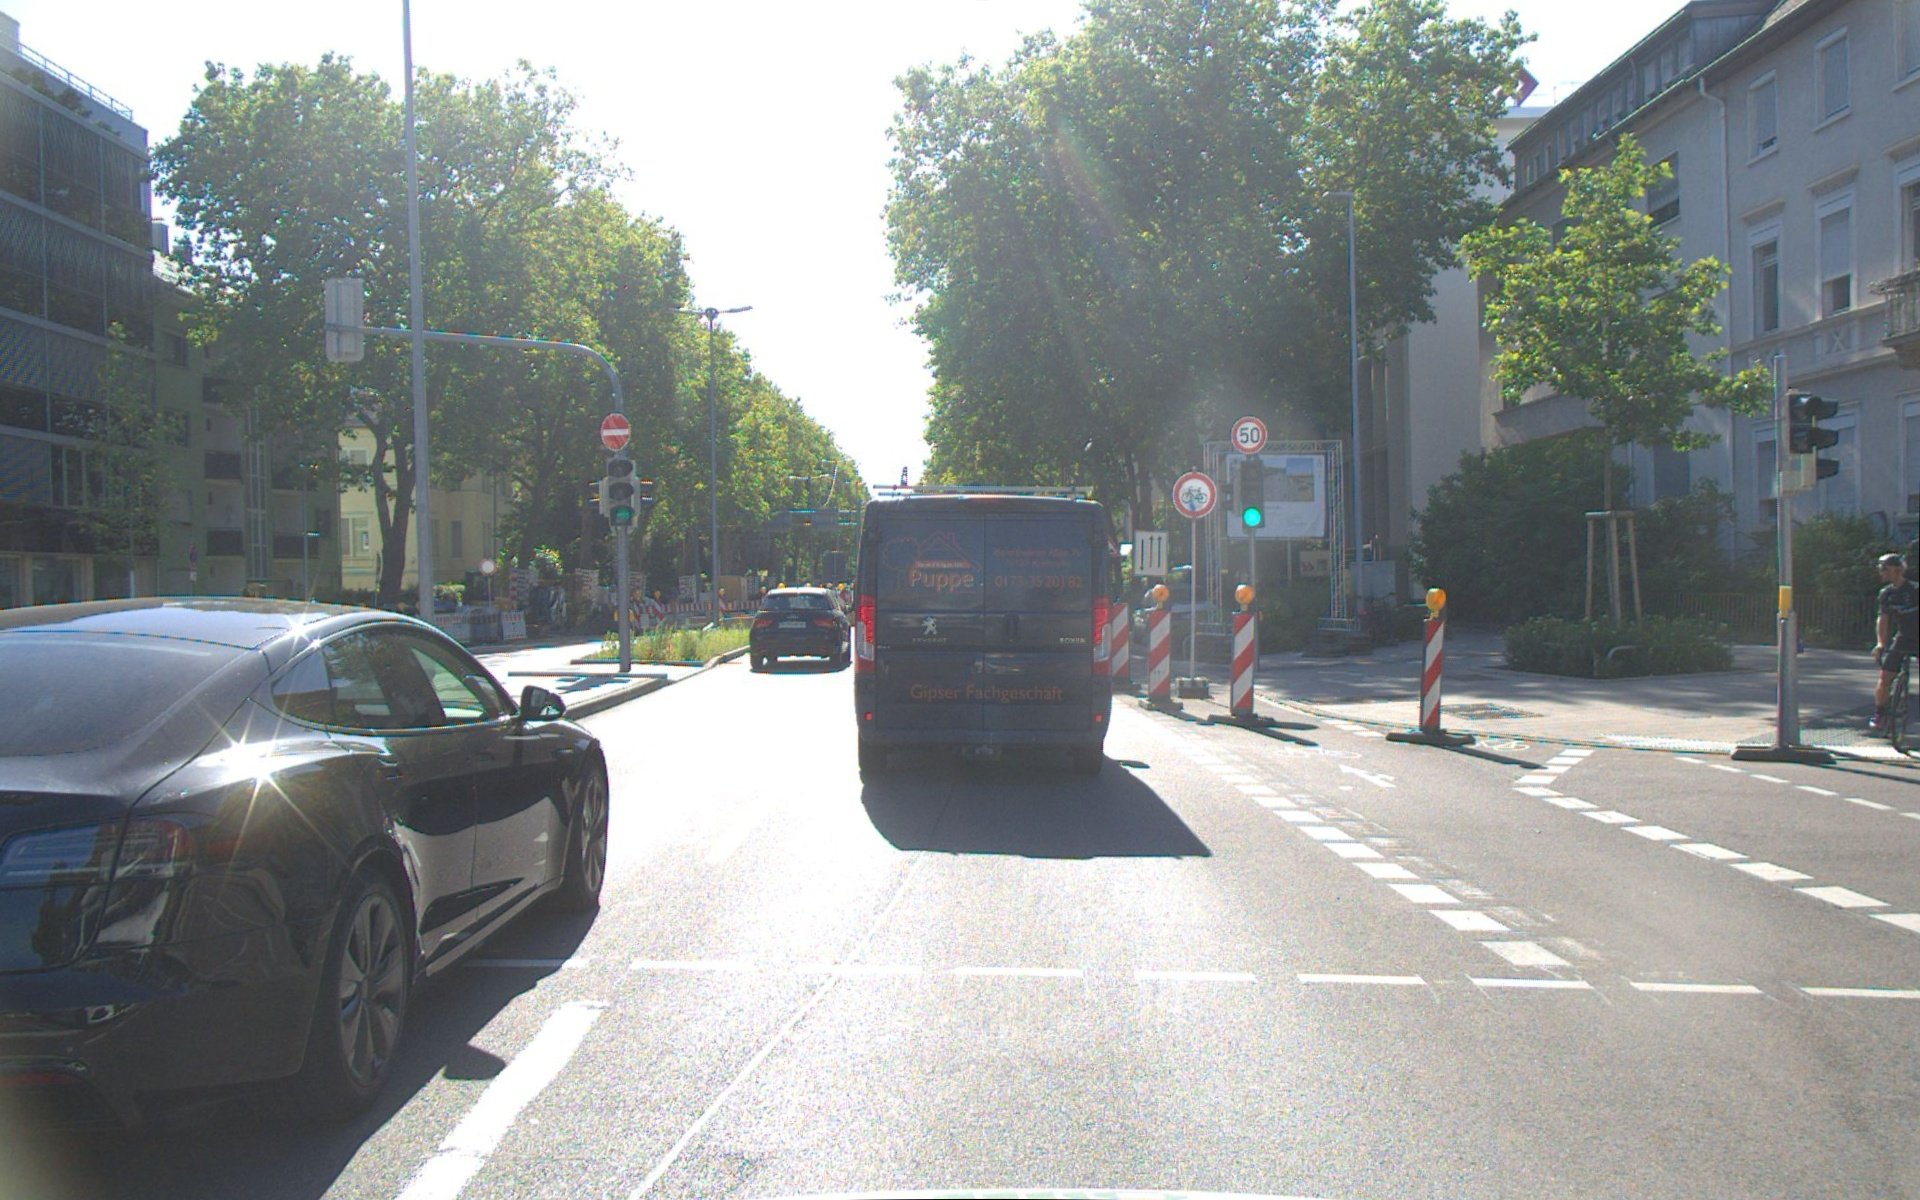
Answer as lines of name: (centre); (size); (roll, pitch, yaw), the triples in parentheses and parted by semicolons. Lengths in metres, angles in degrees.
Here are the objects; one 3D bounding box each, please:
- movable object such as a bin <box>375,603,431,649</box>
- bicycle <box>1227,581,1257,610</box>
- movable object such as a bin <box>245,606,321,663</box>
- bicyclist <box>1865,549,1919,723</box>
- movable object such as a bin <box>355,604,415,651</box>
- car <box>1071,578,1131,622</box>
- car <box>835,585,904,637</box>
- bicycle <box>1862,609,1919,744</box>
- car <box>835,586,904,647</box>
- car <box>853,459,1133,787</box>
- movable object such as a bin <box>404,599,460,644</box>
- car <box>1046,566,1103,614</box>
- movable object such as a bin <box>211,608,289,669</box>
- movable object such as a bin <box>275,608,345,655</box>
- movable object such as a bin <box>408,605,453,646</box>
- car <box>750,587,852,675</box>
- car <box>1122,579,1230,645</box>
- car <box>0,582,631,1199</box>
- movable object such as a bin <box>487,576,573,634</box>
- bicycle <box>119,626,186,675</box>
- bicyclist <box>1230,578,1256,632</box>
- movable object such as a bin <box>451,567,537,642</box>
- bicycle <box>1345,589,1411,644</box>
movable object such as a bin: (-17.350, 0.809, 51.549); (1.381, 1.361, 0.936); (-1, 0, 1)
bicycle: (9.867, -0.157, 57.948); (0.766, 0.983, 1.823); (-1, 1, 1)
movable object such as a bin: (-17.753, 0.885, 43.446); (1.189, 1.412, 1.856); (-1, 0, 1)
bicyclist: (8.570, 0.305, 14.891); (0.710, 1.525, 0.870); (-1, 1, 28)
movable object such as a bin: (-17.520, 0.835, 50.460); (1.381, 1.361, 1.157); (-1, 0, 1)
car: (5.101, -0.024, 60.242); (1.728, 1.534, 4.250); (-1, 1, -1)
car: (-2.753, 0.309, 51.220); (1.872, 1.469, 4.602); (-1, 1, -1)
bicycle: (8.559, 0.662, 14.975); (0.675, 1.117, 1.684); (-1, 1, 29)
car: (-2.343, 0.391, 43.122); (1.711, 1.431, 3.999); (0, 2, -3)
car: (0.188, 0.128, 14.146); (2.053, 2.396, 3.932); (-1, 1, -2)
movable object such as a bin: (-17.786, 0.704, 55.698); (1.610, 1.447, 1.252); (-1, 0, -27)
car: (4.937, -0.454, 71.917); (1.985, 1.980, 5.272); (-1, 0, -1)
movable object such as a bin: (-17.622, 0.942, 41.113); (1.091, 1.412, 1.856); (-1, 0, 1)
movable object such as a bin: (-17.744, 0.846, 45.185); (1.365, 1.224, 1.242); (-1, 0, 2)
movable object such as a bin: (-17.249, 0.827, 53.888); (0.960, 1.293, 1.540); (-1, 1, -1)
car: (-2.922, 0.530, 31.093); (1.711, 1.431, 3.999); (0, 2, -3)
car: (5.272, 0.246, 41.018); (1.815, 1.505, 4.940); (-1, 1, -2)
car: (-2.559, 0.679, 5.813); (1.886, 1.436, 4.625); (-1, 1, 0)
movable object such as a bin: (-18.162, 0.186, 70.164); (1.952, 2.318, 5.600); (-2, 0, 1)
bicycle: (-18.796, 1.163, 38.552); (0.614, 1.055, 1.879); (-1, 1, 0)
bicyclist: (9.898, 0.169, 57.875); (0.709, 1.852, 1.070); (-1, 0, 0)
movable object such as a bin: (-17.956, 0.133, 63.986); (2.104, 2.753, 5.351); (-1, 0, -4)
bicycle: (8.199, 0.311, 32.363); (0.577, 1.022, 2.125); (-1, 1, 33)
